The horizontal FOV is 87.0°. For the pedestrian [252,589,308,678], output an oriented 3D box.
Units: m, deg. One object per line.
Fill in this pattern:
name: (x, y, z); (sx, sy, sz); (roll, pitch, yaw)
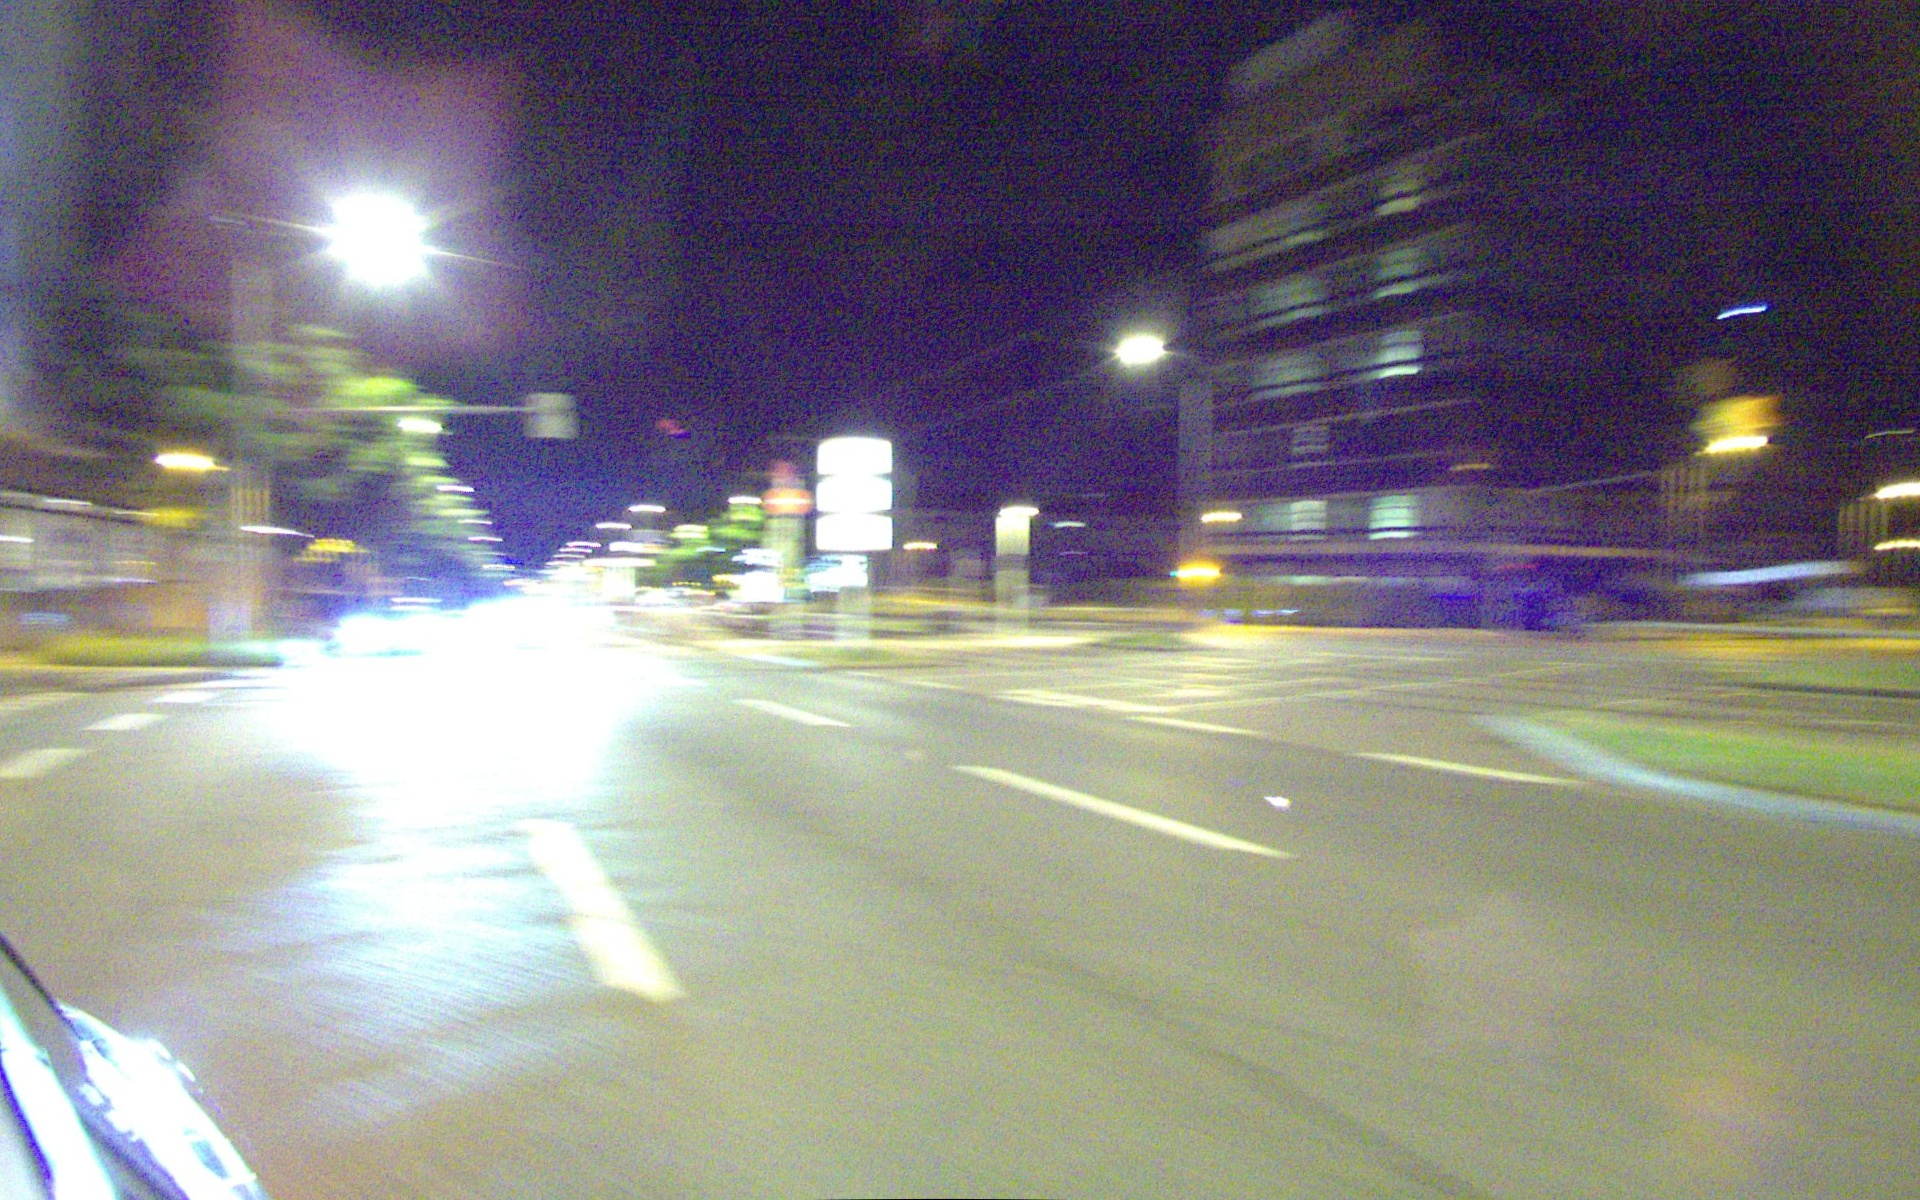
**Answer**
pedestrian: (-12.977, 0.626, 19.308); (0.848, 1.646, 0.672); (0, -1, -37)

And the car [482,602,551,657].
car: (-13.393, 0.842, 30.464); (1.787, 1.514, 4.214); (0, -1, -25)

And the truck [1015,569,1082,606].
truck: (7.668, -1.080, 88.302); (2.863, 3.111, 5.935); (0, 1, -31)

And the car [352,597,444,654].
car: (-16.873, 0.753, 30.577); (1.874, 1.583, 4.013); (0, -1, -21)
